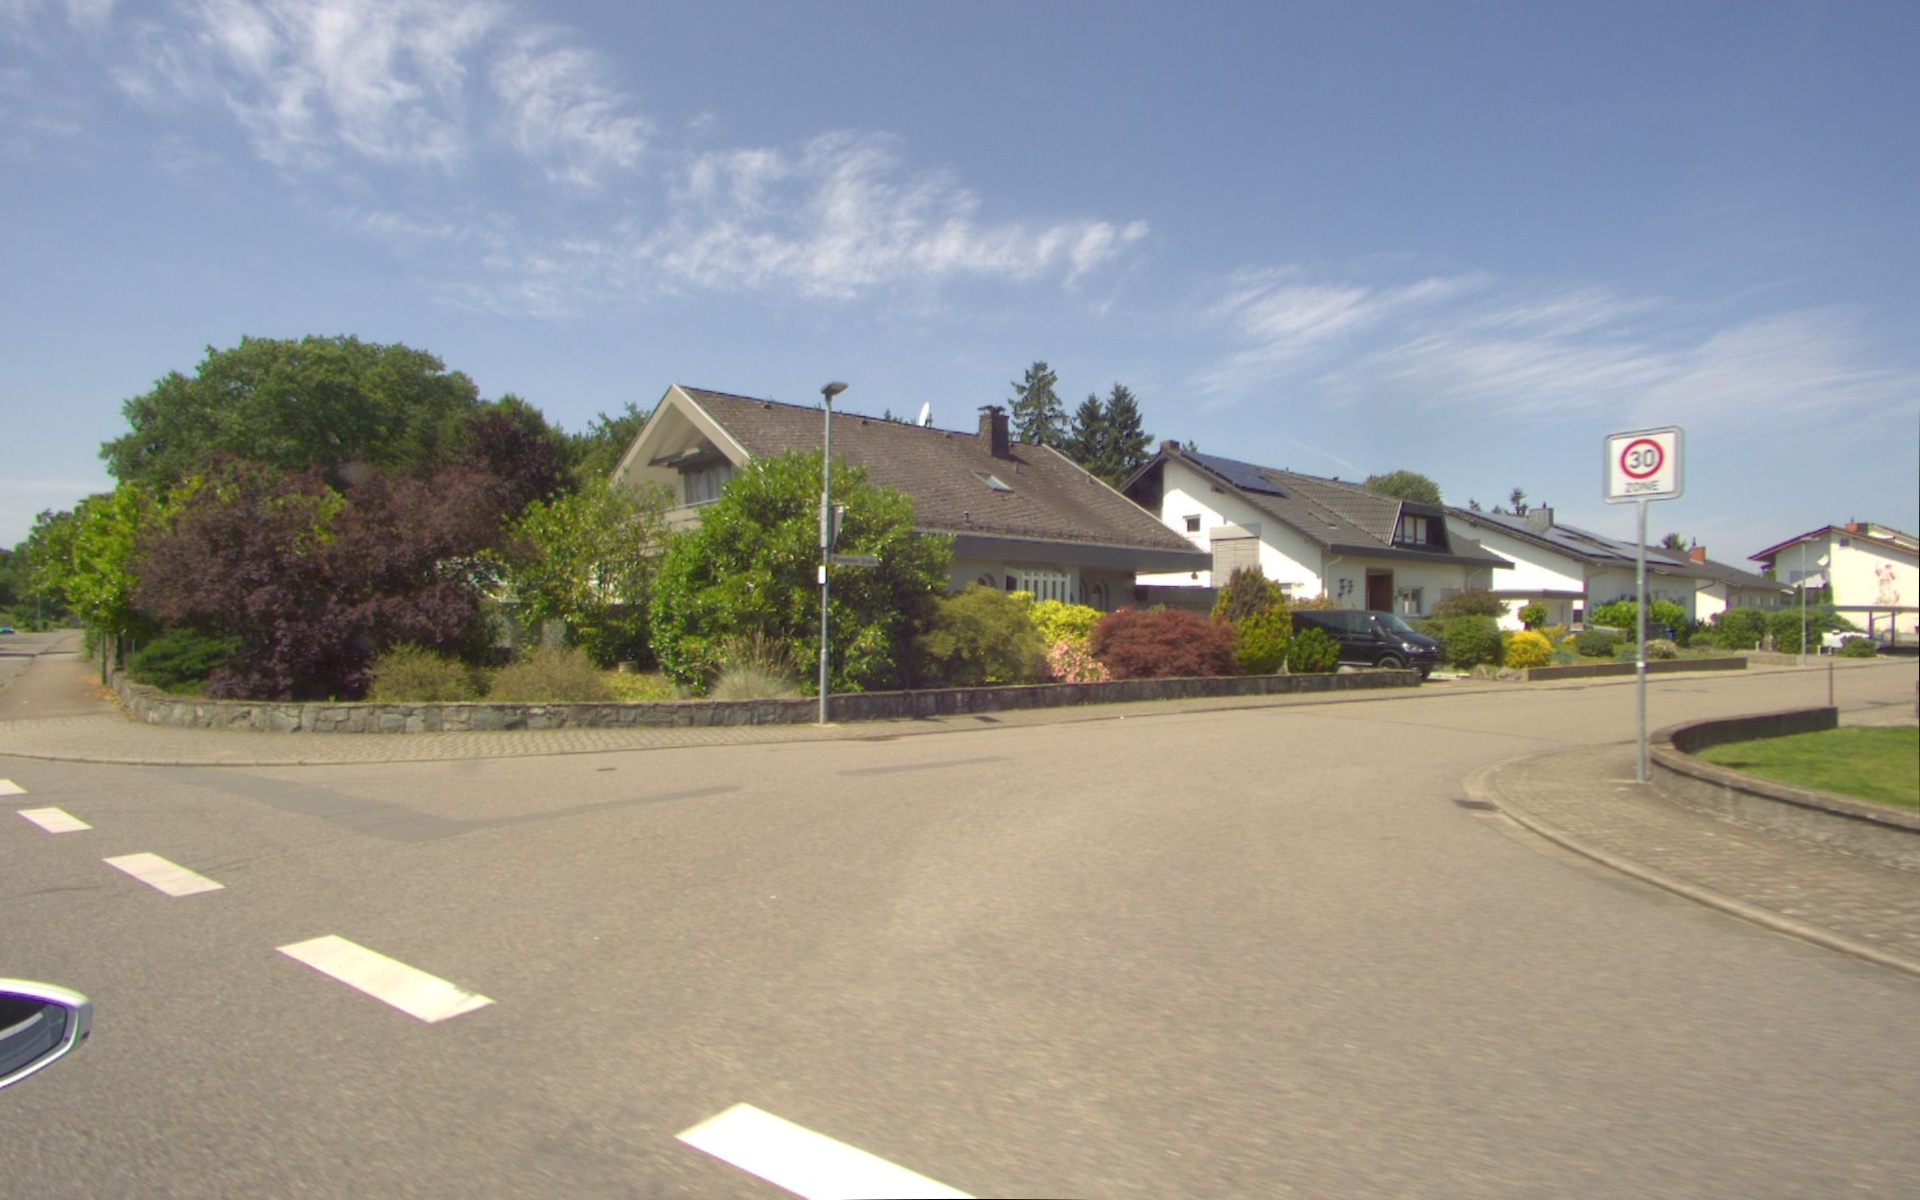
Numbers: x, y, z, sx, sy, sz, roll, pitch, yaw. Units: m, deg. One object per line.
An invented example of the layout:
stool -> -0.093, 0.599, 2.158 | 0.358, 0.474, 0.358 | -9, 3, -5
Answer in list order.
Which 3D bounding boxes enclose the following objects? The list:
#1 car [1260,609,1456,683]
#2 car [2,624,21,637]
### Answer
car -> 11.303, 1.269, 28.734 | 1.908, 1.940, 4.924 | 1, -1, -40
car -> -142.302, 4.517, 150.185 | 3.959, 1.884, 1.939 | -1, -1, 45
